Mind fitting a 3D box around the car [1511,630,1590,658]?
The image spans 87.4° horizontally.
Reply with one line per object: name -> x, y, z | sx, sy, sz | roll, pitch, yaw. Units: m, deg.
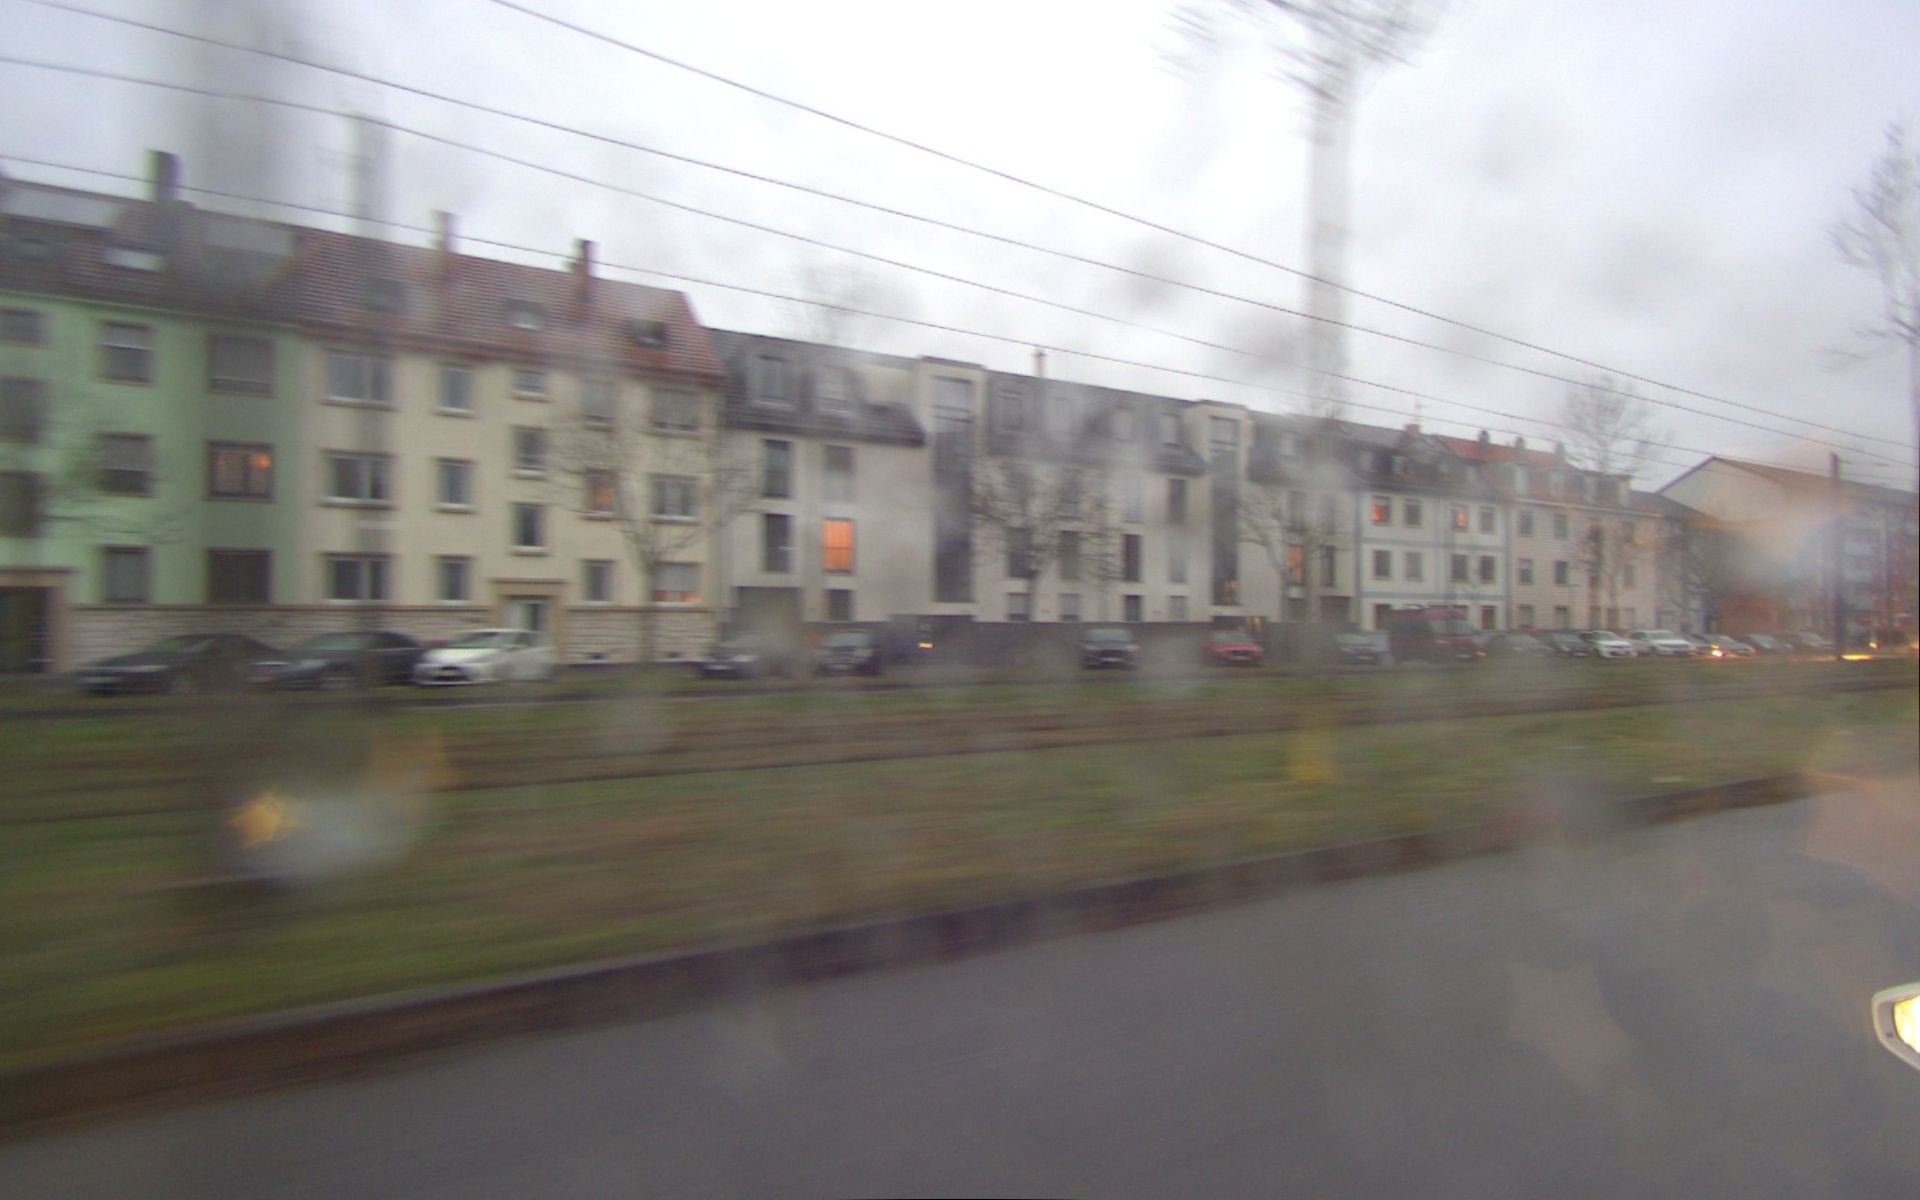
car -> 29.049, 2.147, 49.558 | 1.845, 1.216, 3.541 | 1, 0, 1

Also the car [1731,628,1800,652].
car -> 49.310, 2.436, 61.572 | 1.424, 1.355, 3.770 | 0, -1, 5

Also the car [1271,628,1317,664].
car -> 13.634, 1.842, 41.104 | 1.360, 1.320, 3.099 | 1, 0, 11

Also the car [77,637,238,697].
car -> -16.822, 1.377, 21.174 | 1.408, 1.062, 2.393 | 0, 0, 2

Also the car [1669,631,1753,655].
car -> 42.992, 2.456, 57.618 | 1.648, 1.131, 4.189 | 1, 0, 1

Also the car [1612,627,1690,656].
car -> 37.547, 2.221, 54.722 | 1.737, 1.397, 4.126 | 1, 0, 6

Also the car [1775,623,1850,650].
car -> 54.627, 2.319, 64.445 | 1.707, 1.576, 3.799 | 1, 0, 2

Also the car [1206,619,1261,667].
car -> 10.296, 1.584, 38.019 | 1.707, 1.610, 3.851 | 1, 0, 11

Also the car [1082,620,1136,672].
car -> 5.090, 1.530, 34.768 | 1.636, 1.561, 4.165 | 1, 0, 6

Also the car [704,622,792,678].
car -> -5.836, 1.351, 27.926 | 1.703, 1.354, 2.937 | 1, 1, 2

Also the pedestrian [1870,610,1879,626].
pedestrian -> 67.020, 1.327, 73.613 | 0.339, 1.200, 0.434 | 1, 0, 19

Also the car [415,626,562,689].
car -> -11.376, 1.337, 24.529 | 1.703, 1.262, 3.844 | 1, 0, 1

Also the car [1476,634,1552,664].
car -> 26.613, 2.314, 48.371 | 1.713, 1.228, 3.541 | 1, 0, 1

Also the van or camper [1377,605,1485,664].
van or camper -> 21.122, 1.439, 45.451 | 1.960, 2.391, 6.883 | 1, 0, 3

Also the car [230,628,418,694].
car -> -14.134, 1.315, 22.603 | 1.703, 1.188, 3.822 | 1, 0, 2

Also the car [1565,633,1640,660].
car -> 32.498, 2.330, 50.924 | 1.658, 1.163, 3.419 | 1, 0, 1

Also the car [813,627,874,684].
car -> -3.422, 1.586, 29.527 | 1.639, 1.441, 3.381 | 1, 0, -7

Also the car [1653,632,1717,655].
car -> 40.533, 2.424, 56.210 | 1.369, 1.163, 3.045 | 1, 0, 1

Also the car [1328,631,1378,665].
car -> 16.146, 1.957, 41.367 | 1.360, 1.220, 2.890 | 1, 0, 11
